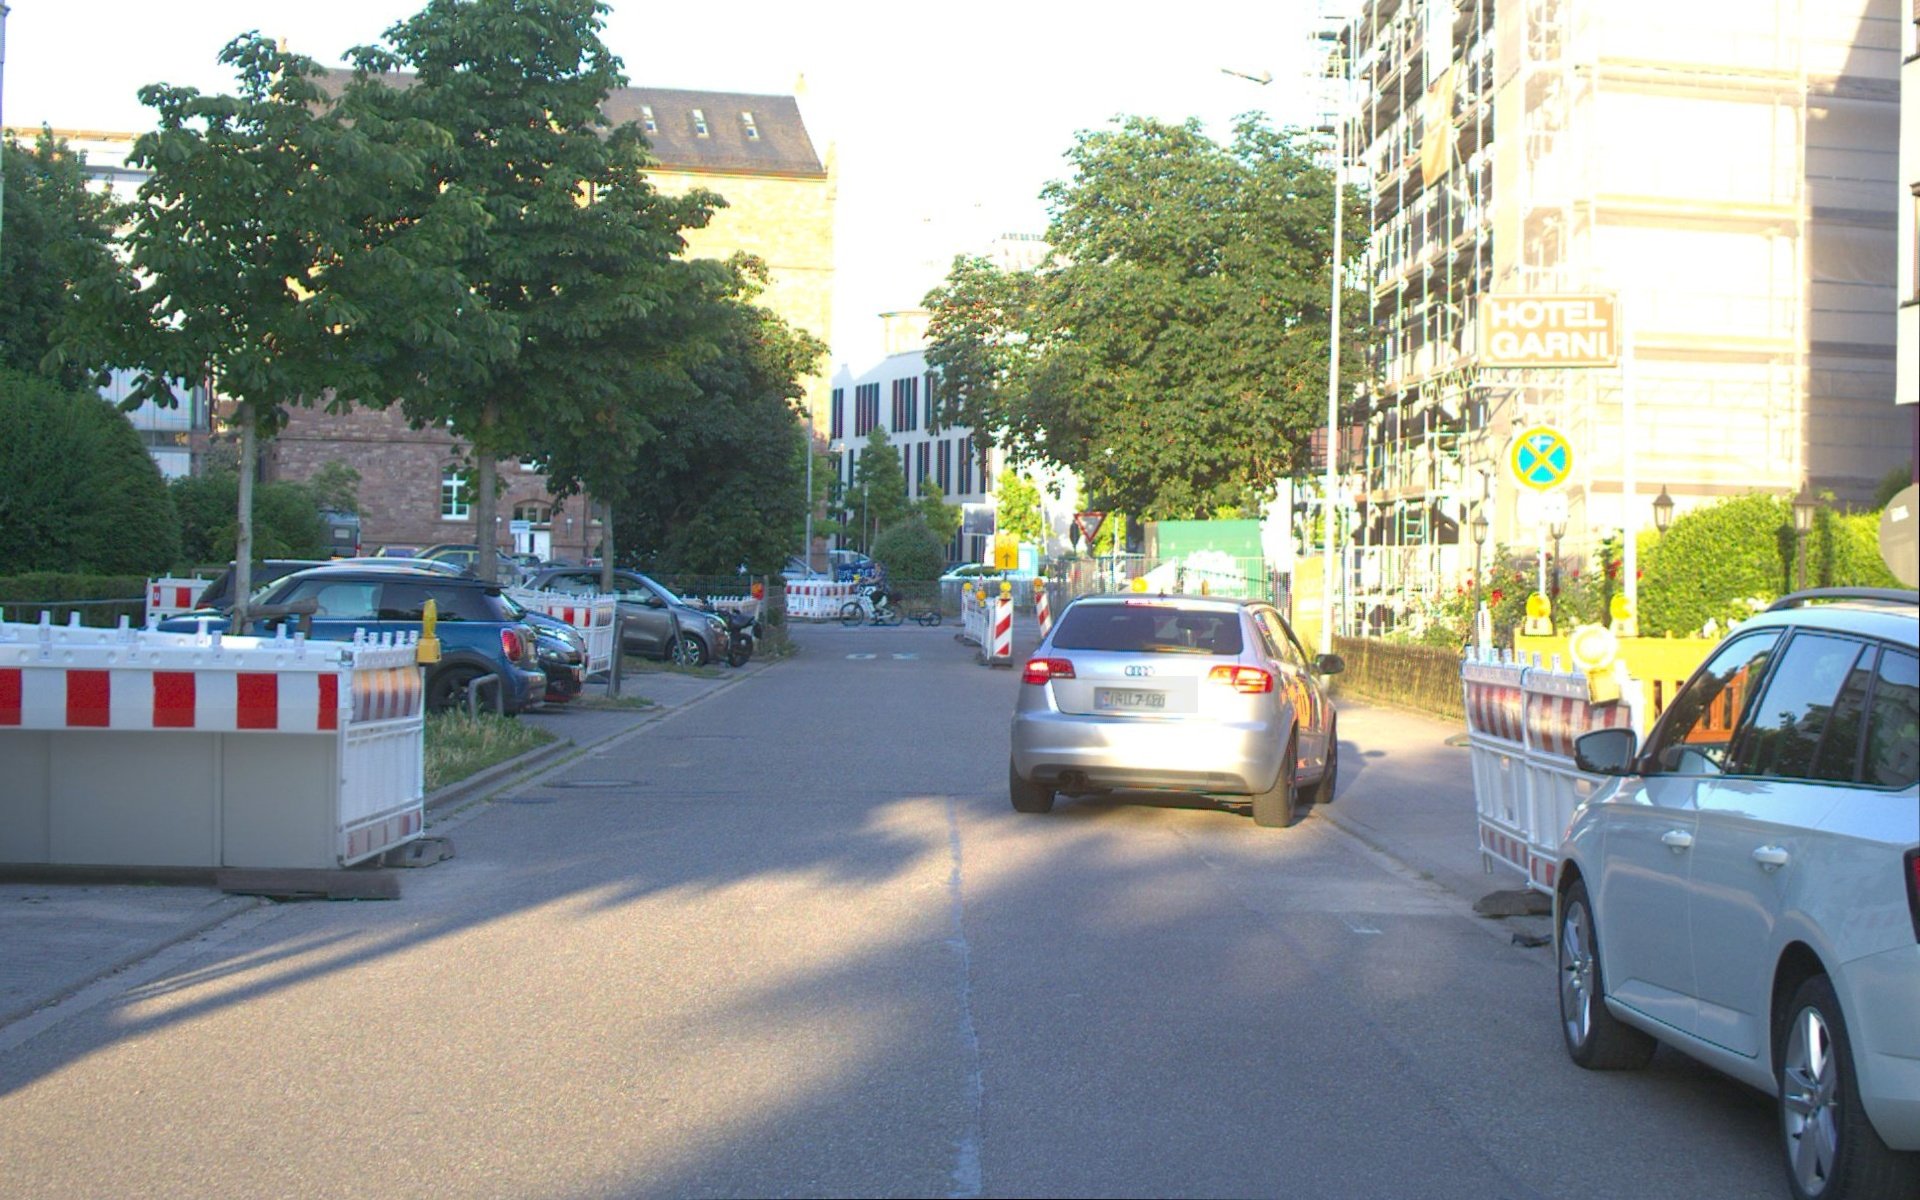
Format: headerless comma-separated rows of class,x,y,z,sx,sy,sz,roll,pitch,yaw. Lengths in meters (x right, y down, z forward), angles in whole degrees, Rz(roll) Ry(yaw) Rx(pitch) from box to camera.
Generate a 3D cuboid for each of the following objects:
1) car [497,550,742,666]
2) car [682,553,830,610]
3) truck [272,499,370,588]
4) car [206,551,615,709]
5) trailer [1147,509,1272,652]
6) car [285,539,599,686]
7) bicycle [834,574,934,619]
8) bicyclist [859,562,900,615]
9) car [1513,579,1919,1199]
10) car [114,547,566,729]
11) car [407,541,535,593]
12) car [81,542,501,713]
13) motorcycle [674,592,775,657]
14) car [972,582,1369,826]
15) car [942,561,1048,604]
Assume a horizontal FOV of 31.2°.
car,-5.356,0.121,54.398,3.623,1.551,1.693,4,0,0
car,-6.369,-0.574,107.140,4.268,1.703,1.703,1,1,-19
truck,-19.510,-1.728,104.824,2.333,2.608,4.974,1,1,-17
car,-5.795,0.319,36.552,3.978,1.484,1.728,2,-1,2
trailer,4.608,-0.378,64.022,1.993,2.531,4.186,1,1,0
car,-6.097,0.153,40.777,3.474,1.561,1.728,2,-1,-3
bicycle,-2.132,-0.102,96.635,2.723,1.214,0.711,1,1,-8
bicyclist,-2.272,-0.320,96.605,1.060,1.453,0.791,1,1,-7
car,2.680,0.707,9.028,1.614,1.464,3.997,1,1,-3
car,-5.526,0.338,30.941,3.677,1.440,1.728,2,-1,2
car,-14.882,-1.007,104.604,3.630,1.498,1.638,1,1,-16
car,-6.484,0.267,33.553,3.677,1.479,1.728,2,-1,2
motorcycle,-3.954,0.417,57.923,0.538,1.017,2.208,4,1,29
car,1.470,0.600,22.386,1.777,1.392,4.104,1,1,15
car,1.374,-0.684,134.531,3.739,1.597,1.687,1,1,-21
